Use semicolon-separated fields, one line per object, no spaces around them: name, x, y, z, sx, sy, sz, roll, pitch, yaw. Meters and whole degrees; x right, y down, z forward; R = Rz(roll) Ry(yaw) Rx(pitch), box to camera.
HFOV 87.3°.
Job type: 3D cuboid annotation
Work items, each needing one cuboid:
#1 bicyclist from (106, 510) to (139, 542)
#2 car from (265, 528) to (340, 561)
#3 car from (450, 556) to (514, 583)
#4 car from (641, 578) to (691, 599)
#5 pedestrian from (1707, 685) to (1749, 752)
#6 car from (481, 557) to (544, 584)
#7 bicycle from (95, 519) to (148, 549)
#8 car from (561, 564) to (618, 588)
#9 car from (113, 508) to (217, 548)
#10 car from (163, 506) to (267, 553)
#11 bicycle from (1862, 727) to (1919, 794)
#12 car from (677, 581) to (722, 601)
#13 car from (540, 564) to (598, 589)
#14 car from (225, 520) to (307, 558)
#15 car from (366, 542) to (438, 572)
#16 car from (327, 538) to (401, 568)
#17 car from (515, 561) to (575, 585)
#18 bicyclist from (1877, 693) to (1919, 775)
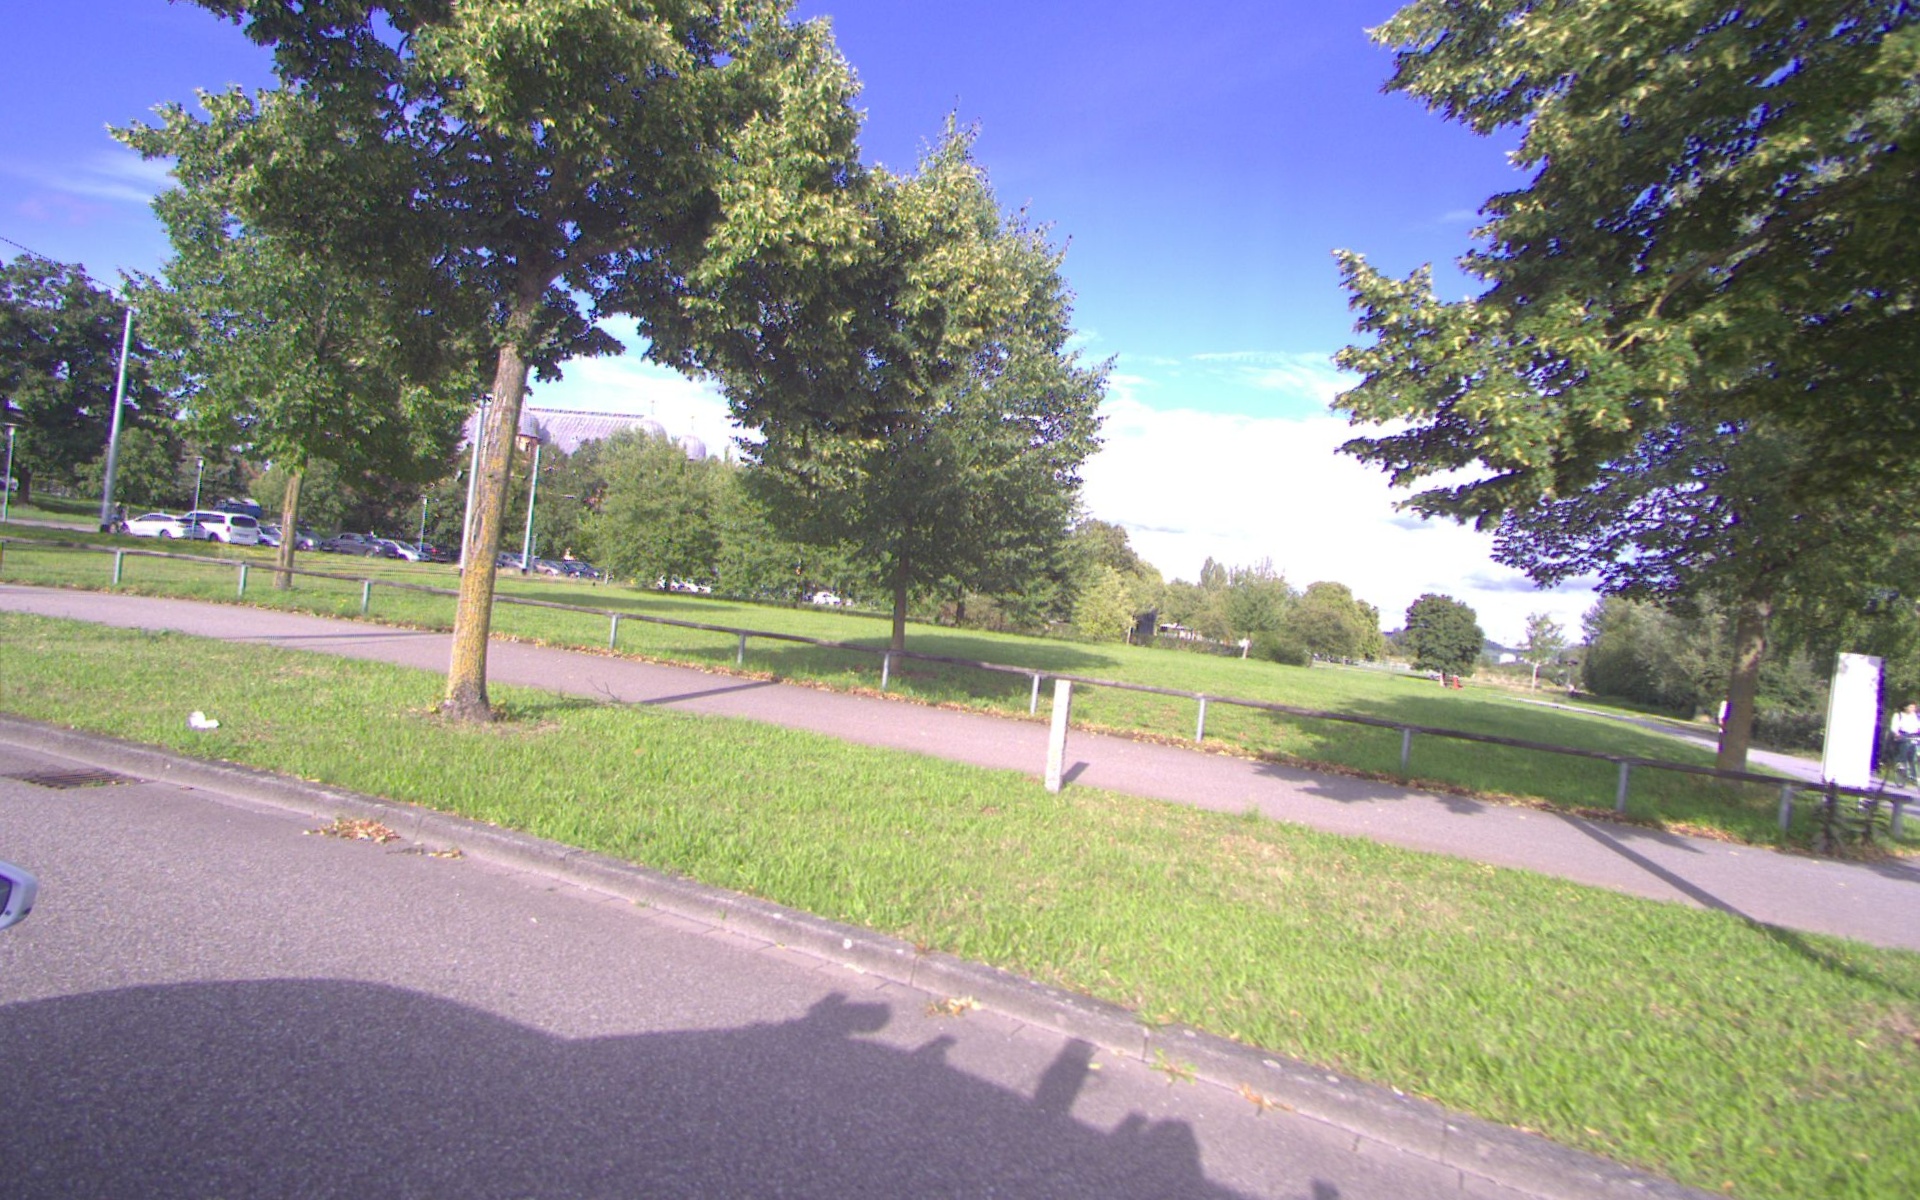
bicyclist;-39.538;-3.484;47.520;0.702;1.372;1.003;6;1;-12
car;-40.143;-3.386;61.435;4.040;1.534;2.034;6;0;27
car;-36.042;-2.301;75.812;4.387;1.534;1.802;6;0;23
car;-28.917;-1.135;98.933;4.386;1.494;1.799;6;0;20
pedestrian;21.372;3.281;28.023;0.656;1.754;0.596;6;1;25
car;-34.793;-2.255;78.138;4.387;1.560;1.858;6;0;23
bicycle;-39.527;-3.087;47.463;0.702;1.237;2.522;6;0;-12
car;-32.066;-2.101;87.094;4.387;1.560;1.858;6;0;23
car;-42.377;-3.824;53.659;4.383;1.534;1.862;6;0;12
car;-41.745;-3.955;56.392;5.019;2.032;2.316;6;0;22
bicycle;19.360;3.274;20.515;0.790;1.140;2.597;7;0;30
car;-27.112;-0.916;104.611;4.393;1.560;1.856;6;0;30
car;-32.837;-2.008;84.403;4.387;1.560;1.858;6;0;23
car;-40.973;-3.591;59.382;4.391;1.695;2.100;6;0;27
car;-37.833;-2.934;68.203;4.387;1.523;1.860;6;0;23
car;-38.910;-3.049;65.679;4.387;1.416;1.860;6;0;23
car;-33.810;-2.191;81.947;4.387;1.472;1.858;6;0;23
bicyclist;19.422;2.739;20.479;0.790;1.566;0.903;7;1;30
